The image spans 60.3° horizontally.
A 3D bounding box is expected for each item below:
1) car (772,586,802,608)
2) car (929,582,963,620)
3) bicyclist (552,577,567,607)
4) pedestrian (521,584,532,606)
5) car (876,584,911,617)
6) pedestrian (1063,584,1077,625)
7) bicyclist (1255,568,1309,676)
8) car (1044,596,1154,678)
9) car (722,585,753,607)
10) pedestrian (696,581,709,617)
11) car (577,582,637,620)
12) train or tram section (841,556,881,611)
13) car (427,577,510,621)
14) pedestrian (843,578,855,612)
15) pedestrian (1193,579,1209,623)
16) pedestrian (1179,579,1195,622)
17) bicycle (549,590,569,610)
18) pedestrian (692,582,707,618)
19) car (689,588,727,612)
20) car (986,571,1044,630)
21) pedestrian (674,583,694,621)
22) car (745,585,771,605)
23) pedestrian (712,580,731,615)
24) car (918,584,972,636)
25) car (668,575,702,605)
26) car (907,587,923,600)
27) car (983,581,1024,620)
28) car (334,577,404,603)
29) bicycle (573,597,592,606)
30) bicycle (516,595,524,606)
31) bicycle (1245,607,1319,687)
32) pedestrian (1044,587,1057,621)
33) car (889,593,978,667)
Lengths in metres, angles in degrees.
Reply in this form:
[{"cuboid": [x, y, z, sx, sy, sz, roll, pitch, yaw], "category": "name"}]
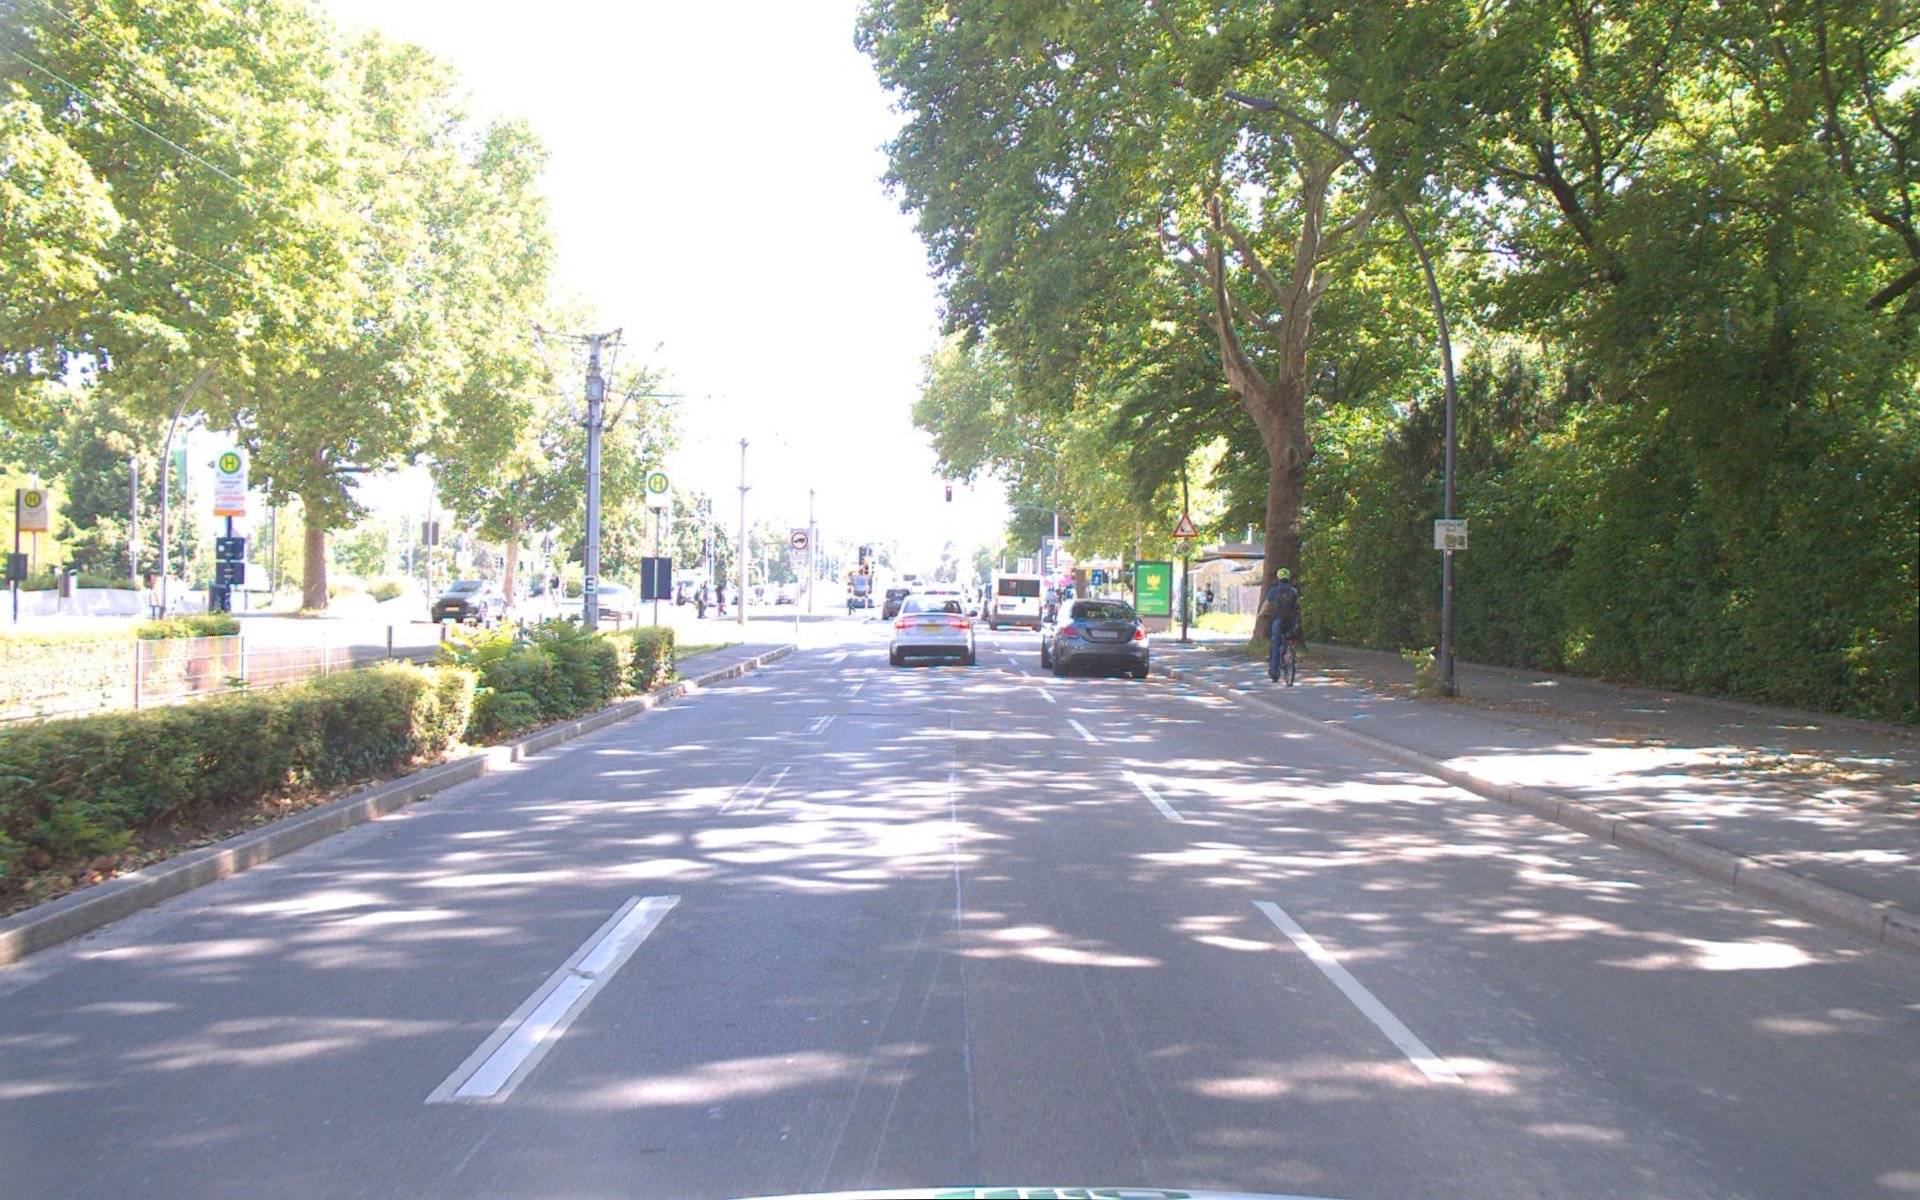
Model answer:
[{"cuboid": [-14.022, -0.265, 134.221, 1.953, 1.764, 4.000, 1, 0, 0], "category": "car"}, {"cuboid": [-0.741, 0.049, 87.773, 1.694, 1.935, 4.000, 1, 0, 0], "category": "car"}, {"cuboid": [-22.343, -0.434, 92.283, 0.563, 1.632, 0.838, 1, 0, 0], "category": "bicyclist"}, {"cuboid": [-31.081, -0.349, 118.582, 0.610, 1.569, 0.782, 1, 0, -1], "category": "pedestrian"}, {"cuboid": [-3.494, 0.011, 87.564, 1.694, 1.659, 4.000, 1, 0, 0], "category": "car"}, {"cuboid": [5.368, 0.197, 80.866, 0.622, 1.980, 0.719, 1, 0, 0], "category": "pedestrian"}, {"cuboid": [5.169, 0.334, 26.598, 0.621, 1.676, 0.979, -2, 2, -1], "category": "bicyclist"}, {"cuboid": [2.634, 0.671, 32.068, 1.746, 1.445, 4.000, 1, 0, 0], "category": "car"}, {"cuboid": [-17.251, -0.306, 128.530, 1.833, 1.637, 4.000, 1, 0, 0], "category": "car"}, {"cuboid": [-12.215, -0.056, 78.567, 0.482, 1.708, 0.643, 1, 0, 0], "category": "pedestrian"}, {"cuboid": [-15.629, 0.042, 73.465, 1.774, 1.590, 4.304, 1, 0, -1], "category": "car"}, {"cuboid": [-7.619, -1.294, 128.280, 2.563, 4.085, 7.749, 1, 0, 0], "category": "train or tram section"}, {"cuboid": [-19.329, -0.048, 65.259, 1.792, 1.652, 4.896, 1, 0, -1], "category": "car"}, {"cuboid": [-6.365, -0.284, 94.608, 0.611, 1.951, 0.689, 1, 0, 0], "category": "pedestrian"}, {"cuboid": [10.851, 0.041, 74.401, 0.601, 1.929, 0.597, 0, 0, -3], "category": "pedestrian"}, {"cuboid": [10.204, 0.035, 74.347, 0.601, 1.929, 0.694, 0, 0, -3], "category": "pedestrian"}, {"cuboid": [-22.363, -0.004, 92.291, 0.653, 1.113, 1.884, 1, 0, 0], "category": "bicycle"}, {"cuboid": [-12.265, 0.011, 77.877, 0.580, 1.675, 0.554, 1, 0, 0], "category": "pedestrian"}, {"cuboid": [-16.250, -0.001, 106.952, 1.760, 1.514, 4.385, 1, 0, 0], "category": "car"}, {"cuboid": [2.199, 0.005, 67.323, 2.184, 2.250, 4.161, 1, 0, 0], "category": "car"}, {"cuboid": [-12.157, 0.103, 72.840, 0.748, 1.651, 0.590, 1, 0, -26], "category": "pedestrian"}, {"cuboid": [-17.260, -0.415, 141.272, 1.727, 1.637, 3.860, 1, 0, 0], "category": "car"}, {"cuboid": [-12.185, -0.125, 84.544, 0.758, 1.764, 0.755, 1, 0, 8], "category": "pedestrian"}, {"cuboid": [-0.477, 0.300, 54.871, 1.694, 1.633, 3.885, 1, 0, 0], "category": "car"}, {"cuboid": [-22.966, -0.828, 138.297, 2.071, 2.424, 4.000, 1, 0, 0], "category": "car"}, {"cuboid": [-5.845, -0.868, 214.143, 1.832, 1.637, 4.001, 1, 0, 2], "category": "car"}, {"cuboid": [2.315, 0.012, 88.604, 2.030, 2.034, 4.058, 1, 0, 0], "category": "car"}, {"cuboid": [-37.557, -0.633, 105.105, 3.769, 1.576, 1.769, 1, 0, 0], "category": "car"}, {"cuboid": [-29.579, 0.123, 129.689, 0.482, 0.744, 1.619, 1, 0, 28], "category": "bicycle"}, {"cuboid": [-30.721, 0.058, 115.436, 0.413, 0.761, 1.143, 1, 0, -12], "category": "bicycle"}, {"cuboid": [5.168, 0.731, 26.703, 0.700, 1.168, 2.178, -2, 1, -1], "category": "bicycle"}, {"cuboid": [4.653, 0.208, 84.923, 0.590, 1.724, 0.953, -1, 0, 0], "category": "pedestrian"}, {"cuboid": [-0.528, 0.585, 34.958, 1.748, 1.445, 3.885, 1, 0, 0], "category": "car"}]
